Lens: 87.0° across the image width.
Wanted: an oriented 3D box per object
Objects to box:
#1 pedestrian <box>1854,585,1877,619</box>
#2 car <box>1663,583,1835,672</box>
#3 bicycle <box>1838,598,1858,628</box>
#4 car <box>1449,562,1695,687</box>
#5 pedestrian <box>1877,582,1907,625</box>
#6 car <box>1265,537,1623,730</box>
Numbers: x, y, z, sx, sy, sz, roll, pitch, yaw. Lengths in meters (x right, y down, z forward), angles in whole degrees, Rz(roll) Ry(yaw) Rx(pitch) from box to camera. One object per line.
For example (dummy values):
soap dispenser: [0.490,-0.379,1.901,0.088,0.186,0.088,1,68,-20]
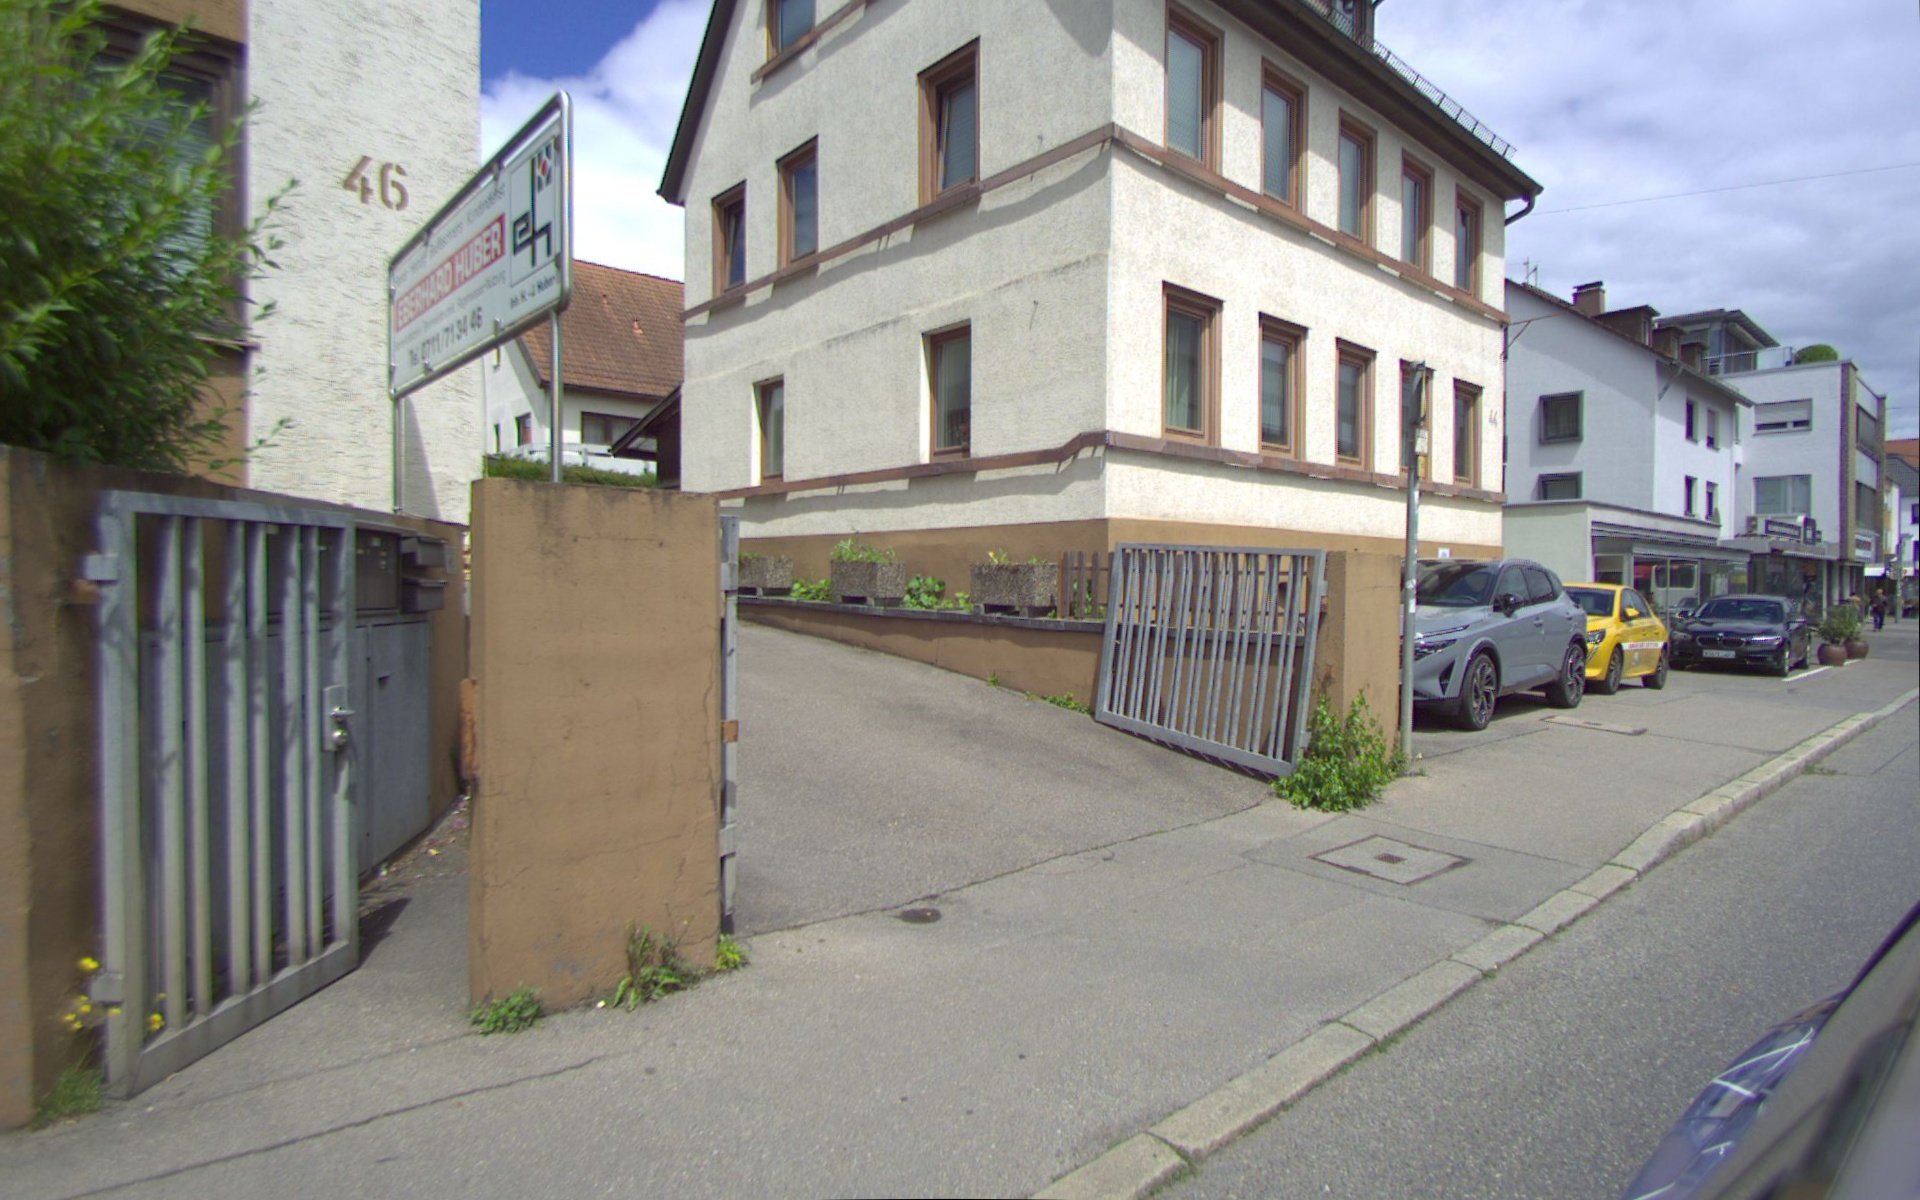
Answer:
pedestrian: [41.119,0.065,45.942,0.707,1.517,0.680,0,1,-42]
car: [15.165,0.434,19.362,4.460,1.465,1.970,0,2,-44]
bicycle: [32.924,0.474,37.534,0.474,1.041,1.613,2,1,39]
car: [8.638,0.335,14.131,4.234,1.466,1.879,3,0,-44]
pedestrian: [37.601,0.117,40.825,0.793,1.691,0.796,0,2,-42]
car: [5.304,0.239,10.793,4.507,1.632,1.863,0,2,-42]
